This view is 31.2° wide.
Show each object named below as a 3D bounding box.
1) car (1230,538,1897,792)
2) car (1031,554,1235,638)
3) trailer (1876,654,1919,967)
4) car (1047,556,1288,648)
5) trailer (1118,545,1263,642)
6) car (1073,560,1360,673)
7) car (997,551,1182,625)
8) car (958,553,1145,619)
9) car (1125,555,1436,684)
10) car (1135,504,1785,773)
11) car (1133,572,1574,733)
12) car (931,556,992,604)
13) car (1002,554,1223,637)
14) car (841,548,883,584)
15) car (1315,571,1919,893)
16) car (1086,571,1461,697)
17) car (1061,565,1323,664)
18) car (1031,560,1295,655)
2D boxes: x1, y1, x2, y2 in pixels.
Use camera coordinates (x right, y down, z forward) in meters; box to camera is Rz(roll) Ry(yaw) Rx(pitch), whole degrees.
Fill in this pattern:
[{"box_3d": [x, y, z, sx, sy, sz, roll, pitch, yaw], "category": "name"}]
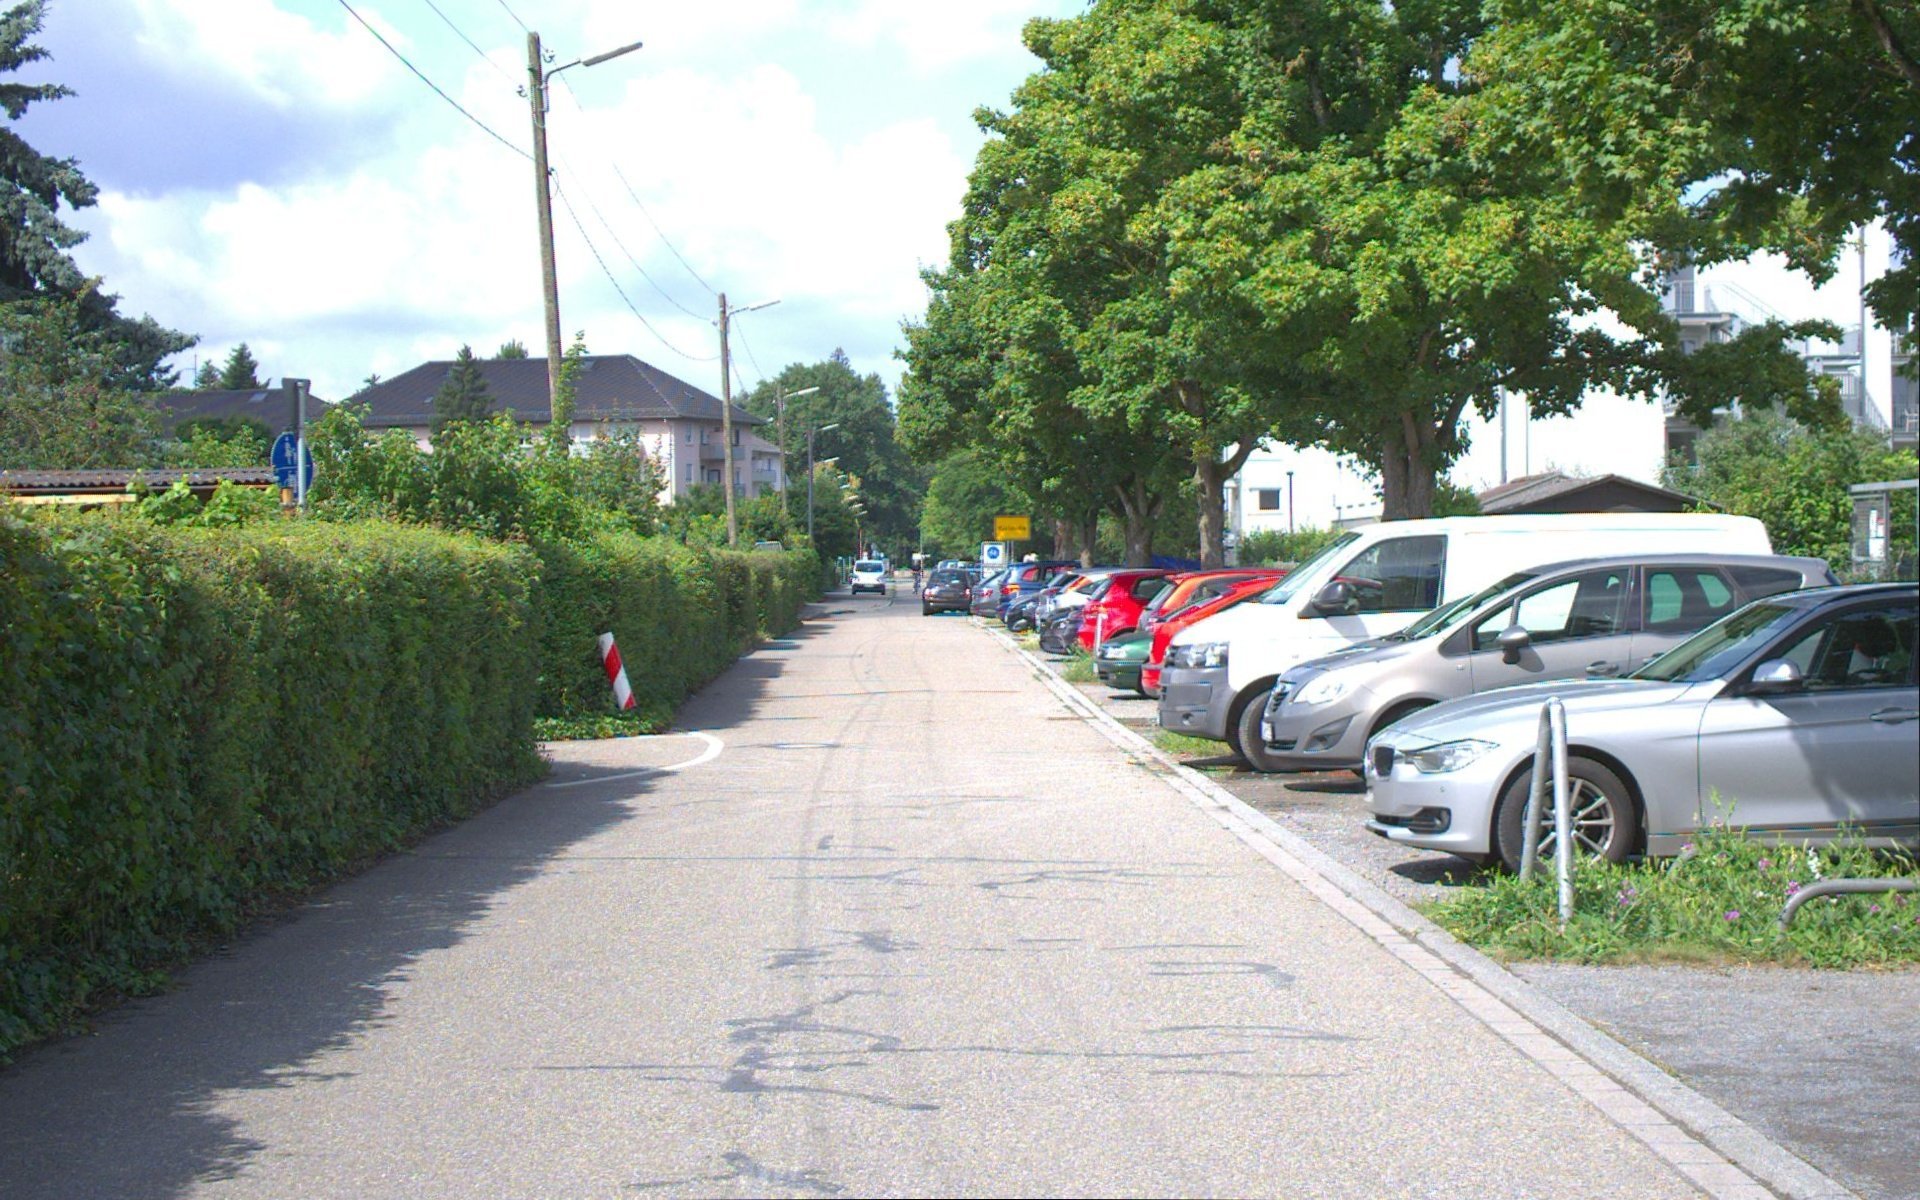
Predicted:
[{"box_3d": [4.104, 0.421, 23.906, 4.243, 1.587, 2.000, -1, 1, 0], "category": "car"}, {"box_3d": [3.326, -0.082, 66.414, 3.723, 1.535, 1.850, 1, 0, -4], "category": "car"}, {"box_3d": [5.088, 0.806, 12.226, 3.100, 1.138, 2.000, 1, 0, 0], "category": "trailer"}, {"box_3d": [3.557, 0.025, 59.333, 4.065, 1.506, 1.957, 1, 0, 2], "category": "car"}, {"box_3d": [4.252, -0.130, 63.533, 2.449, 1.714, 1.518, 1, 1, -4], "category": "trailer"}, {"box_3d": [3.630, 0.226, 49.046, 3.987, 1.514, 1.854, 1, 0, 3], "category": "car"}, {"box_3d": [2.970, -0.276, 79.588, 4.154, 1.632, 1.879, -1, 0, -1], "category": "car"}, {"box_3d": [2.275, -0.349, 86.223, 4.548, 1.573, 1.809, 1, 0, -2], "category": "car"}, {"box_3d": [4.087, 0.246, 44.248, 3.764, 1.568, 1.870, 1, 0, -1], "category": "car"}, {"box_3d": [3.784, 0.267, 26.647, 4.634, 1.880, 2.112, -1, 1, -2], "category": "car"}, {"box_3d": [3.878, 0.506, 34.387, 4.183, 1.499, 1.878, 1, 0, 0], "category": "car"}, {"box_3d": [0.057, -0.640, 111.084, 1.663, 1.501, 3.999, 1, 0, 4], "category": "car"}, {"box_3d": [3.029, -0.093, 68.995, 4.302, 1.588, 2.000, 1, 0, -1], "category": "car"}, {"box_3d": [-5.095, -1.759, 179.467, 1.903, 1.808, 4.000, 1, 0, 2], "category": "car"}, {"box_3d": [4.191, 0.595, 16.951, 4.577, 1.461, 2.000, 0, 1, -4], "category": "car"}, {"box_3d": [3.744, 0.398, 41.522, 4.238, 1.423, 1.908, 1, 0, -4], "category": "car"}, {"box_3d": [3.517, 0.209, 52.560, 3.910, 1.419, 1.957, 1, 0, 2], "category": "car"}, {"box_3d": [3.259, 0.119, 55.725, 4.065, 1.450, 1.870, 1, 0, -3], "category": "car"}]
